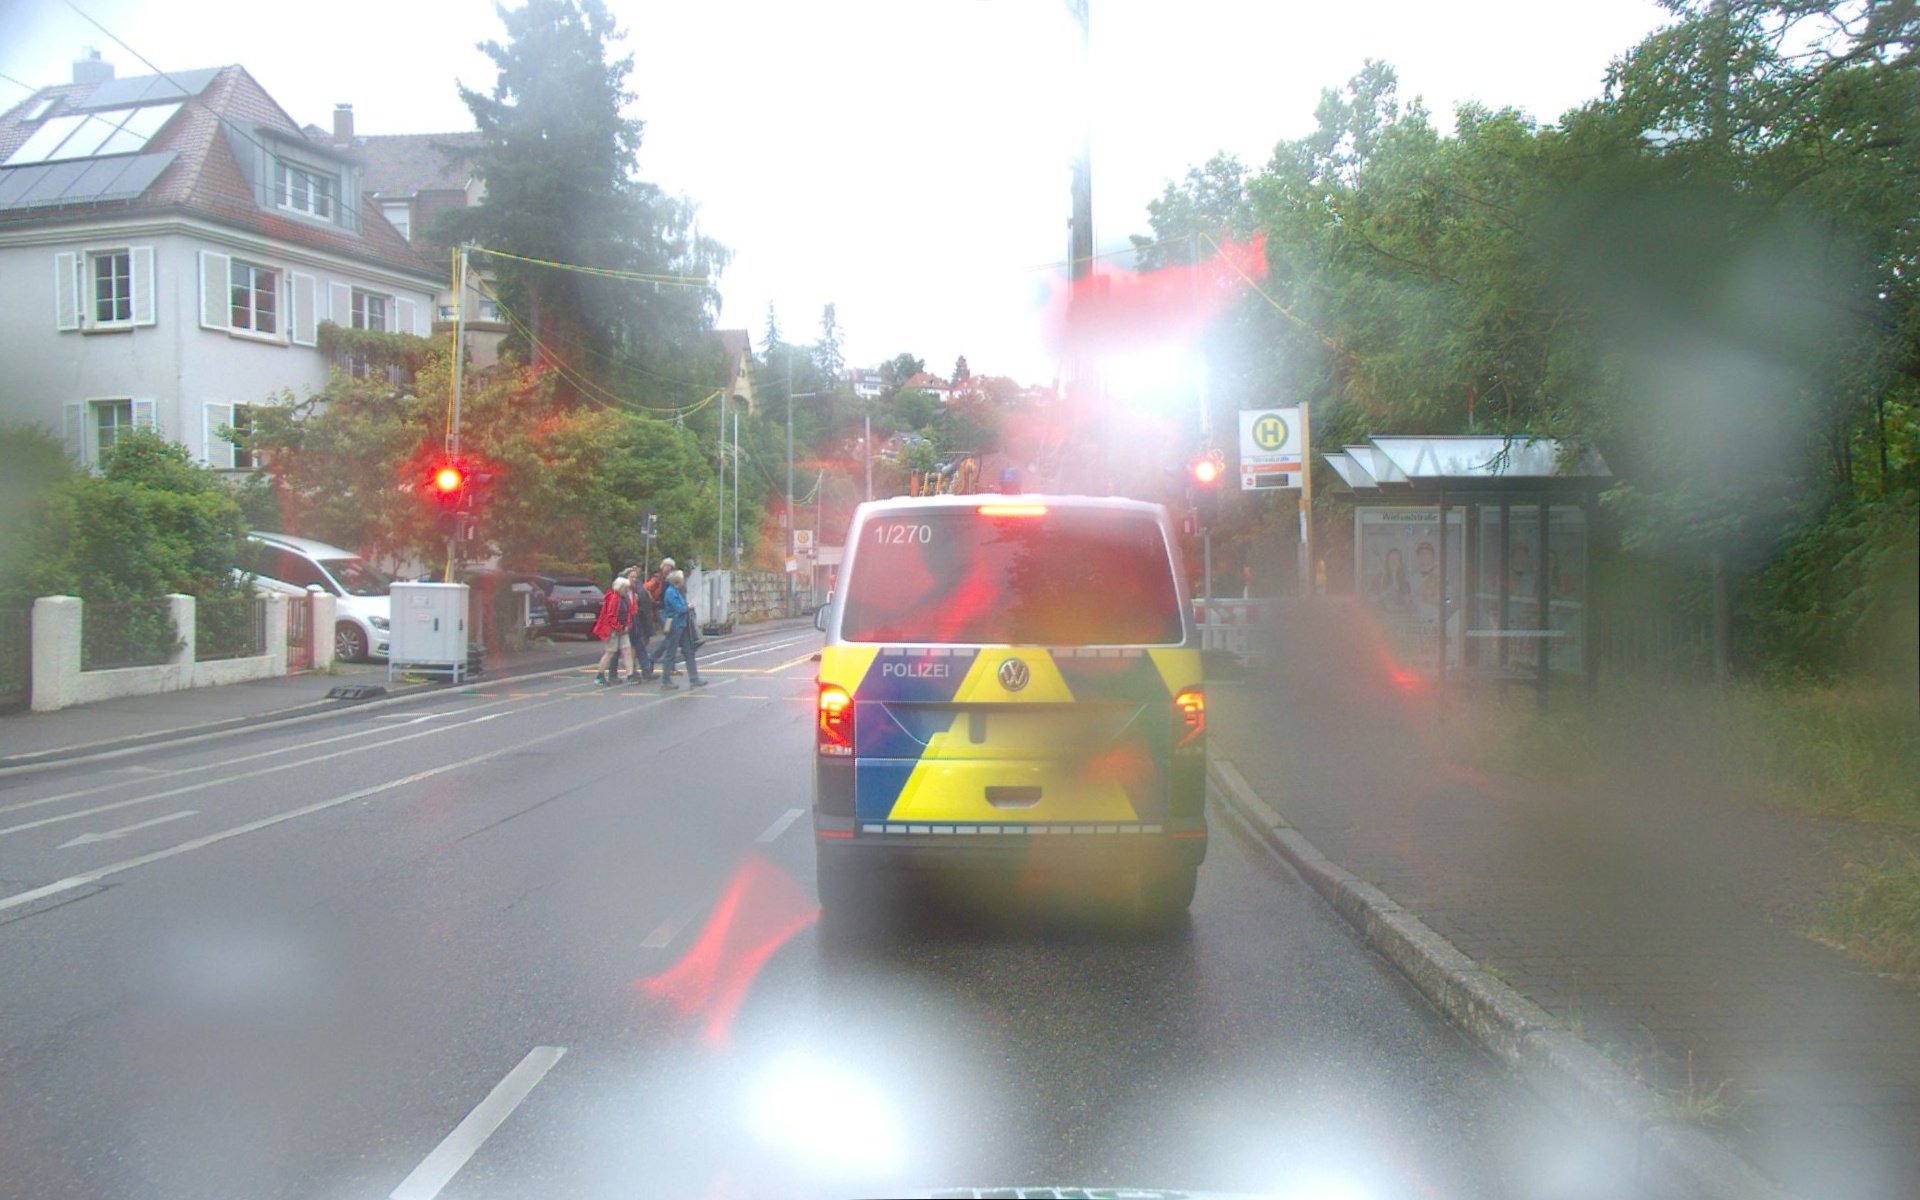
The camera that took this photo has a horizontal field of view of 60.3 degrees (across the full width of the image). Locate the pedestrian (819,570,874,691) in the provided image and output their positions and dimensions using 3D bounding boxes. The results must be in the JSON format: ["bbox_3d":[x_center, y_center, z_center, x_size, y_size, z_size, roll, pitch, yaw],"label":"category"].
[{"bbox_3d":[-1.558,0.421,22.764,0.672,1.632,0.605,2,-2,-2],"label":"pedestrian"}]

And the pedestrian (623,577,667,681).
[{"bbox_3d":[-4.734,0.434,24.891,0.514,1.533,0.429,2,-2,1],"label":"pedestrian"}]

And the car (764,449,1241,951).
[{"bbox_3d":[0.280,0.367,9.078,1.952,2.048,4.404,1,1,3],"label":"car"}]

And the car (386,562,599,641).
[{"bbox_3d":[-9.835,0.051,34.949,3.902,1.512,1.761,1,-2,10],"label":"car"}]

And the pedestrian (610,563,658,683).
[{"bbox_3d":[-4.706,0.334,23.878,0.537,1.697,0.414,2,-2,1],"label":"pedestrian"}]

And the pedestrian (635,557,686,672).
[{"bbox_3d":[-4.663,0.230,25.768,0.613,1.745,0.593,2,-2,1],"label":"pedestrian"}]

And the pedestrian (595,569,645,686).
[{"bbox_3d":[-4.780,0.387,23.266,0.551,1.610,0.468,2,-2,1],"label":"pedestrian"}]

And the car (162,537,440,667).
[{"bbox_3d":[-10.913,0.018,27.486,3.902,2.049,1.832,1,0,11],"label":"car"}]

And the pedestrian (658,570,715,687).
[{"bbox_3d":[-3.732,0.393,22.589,0.613,1.548,0.593,2,-2,1],"label":"pedestrian"}]

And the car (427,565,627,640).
[{"bbox_3d":[-9.684,0.070,37.100,3.902,1.512,1.761,1,-2,10],"label":"car"}]
